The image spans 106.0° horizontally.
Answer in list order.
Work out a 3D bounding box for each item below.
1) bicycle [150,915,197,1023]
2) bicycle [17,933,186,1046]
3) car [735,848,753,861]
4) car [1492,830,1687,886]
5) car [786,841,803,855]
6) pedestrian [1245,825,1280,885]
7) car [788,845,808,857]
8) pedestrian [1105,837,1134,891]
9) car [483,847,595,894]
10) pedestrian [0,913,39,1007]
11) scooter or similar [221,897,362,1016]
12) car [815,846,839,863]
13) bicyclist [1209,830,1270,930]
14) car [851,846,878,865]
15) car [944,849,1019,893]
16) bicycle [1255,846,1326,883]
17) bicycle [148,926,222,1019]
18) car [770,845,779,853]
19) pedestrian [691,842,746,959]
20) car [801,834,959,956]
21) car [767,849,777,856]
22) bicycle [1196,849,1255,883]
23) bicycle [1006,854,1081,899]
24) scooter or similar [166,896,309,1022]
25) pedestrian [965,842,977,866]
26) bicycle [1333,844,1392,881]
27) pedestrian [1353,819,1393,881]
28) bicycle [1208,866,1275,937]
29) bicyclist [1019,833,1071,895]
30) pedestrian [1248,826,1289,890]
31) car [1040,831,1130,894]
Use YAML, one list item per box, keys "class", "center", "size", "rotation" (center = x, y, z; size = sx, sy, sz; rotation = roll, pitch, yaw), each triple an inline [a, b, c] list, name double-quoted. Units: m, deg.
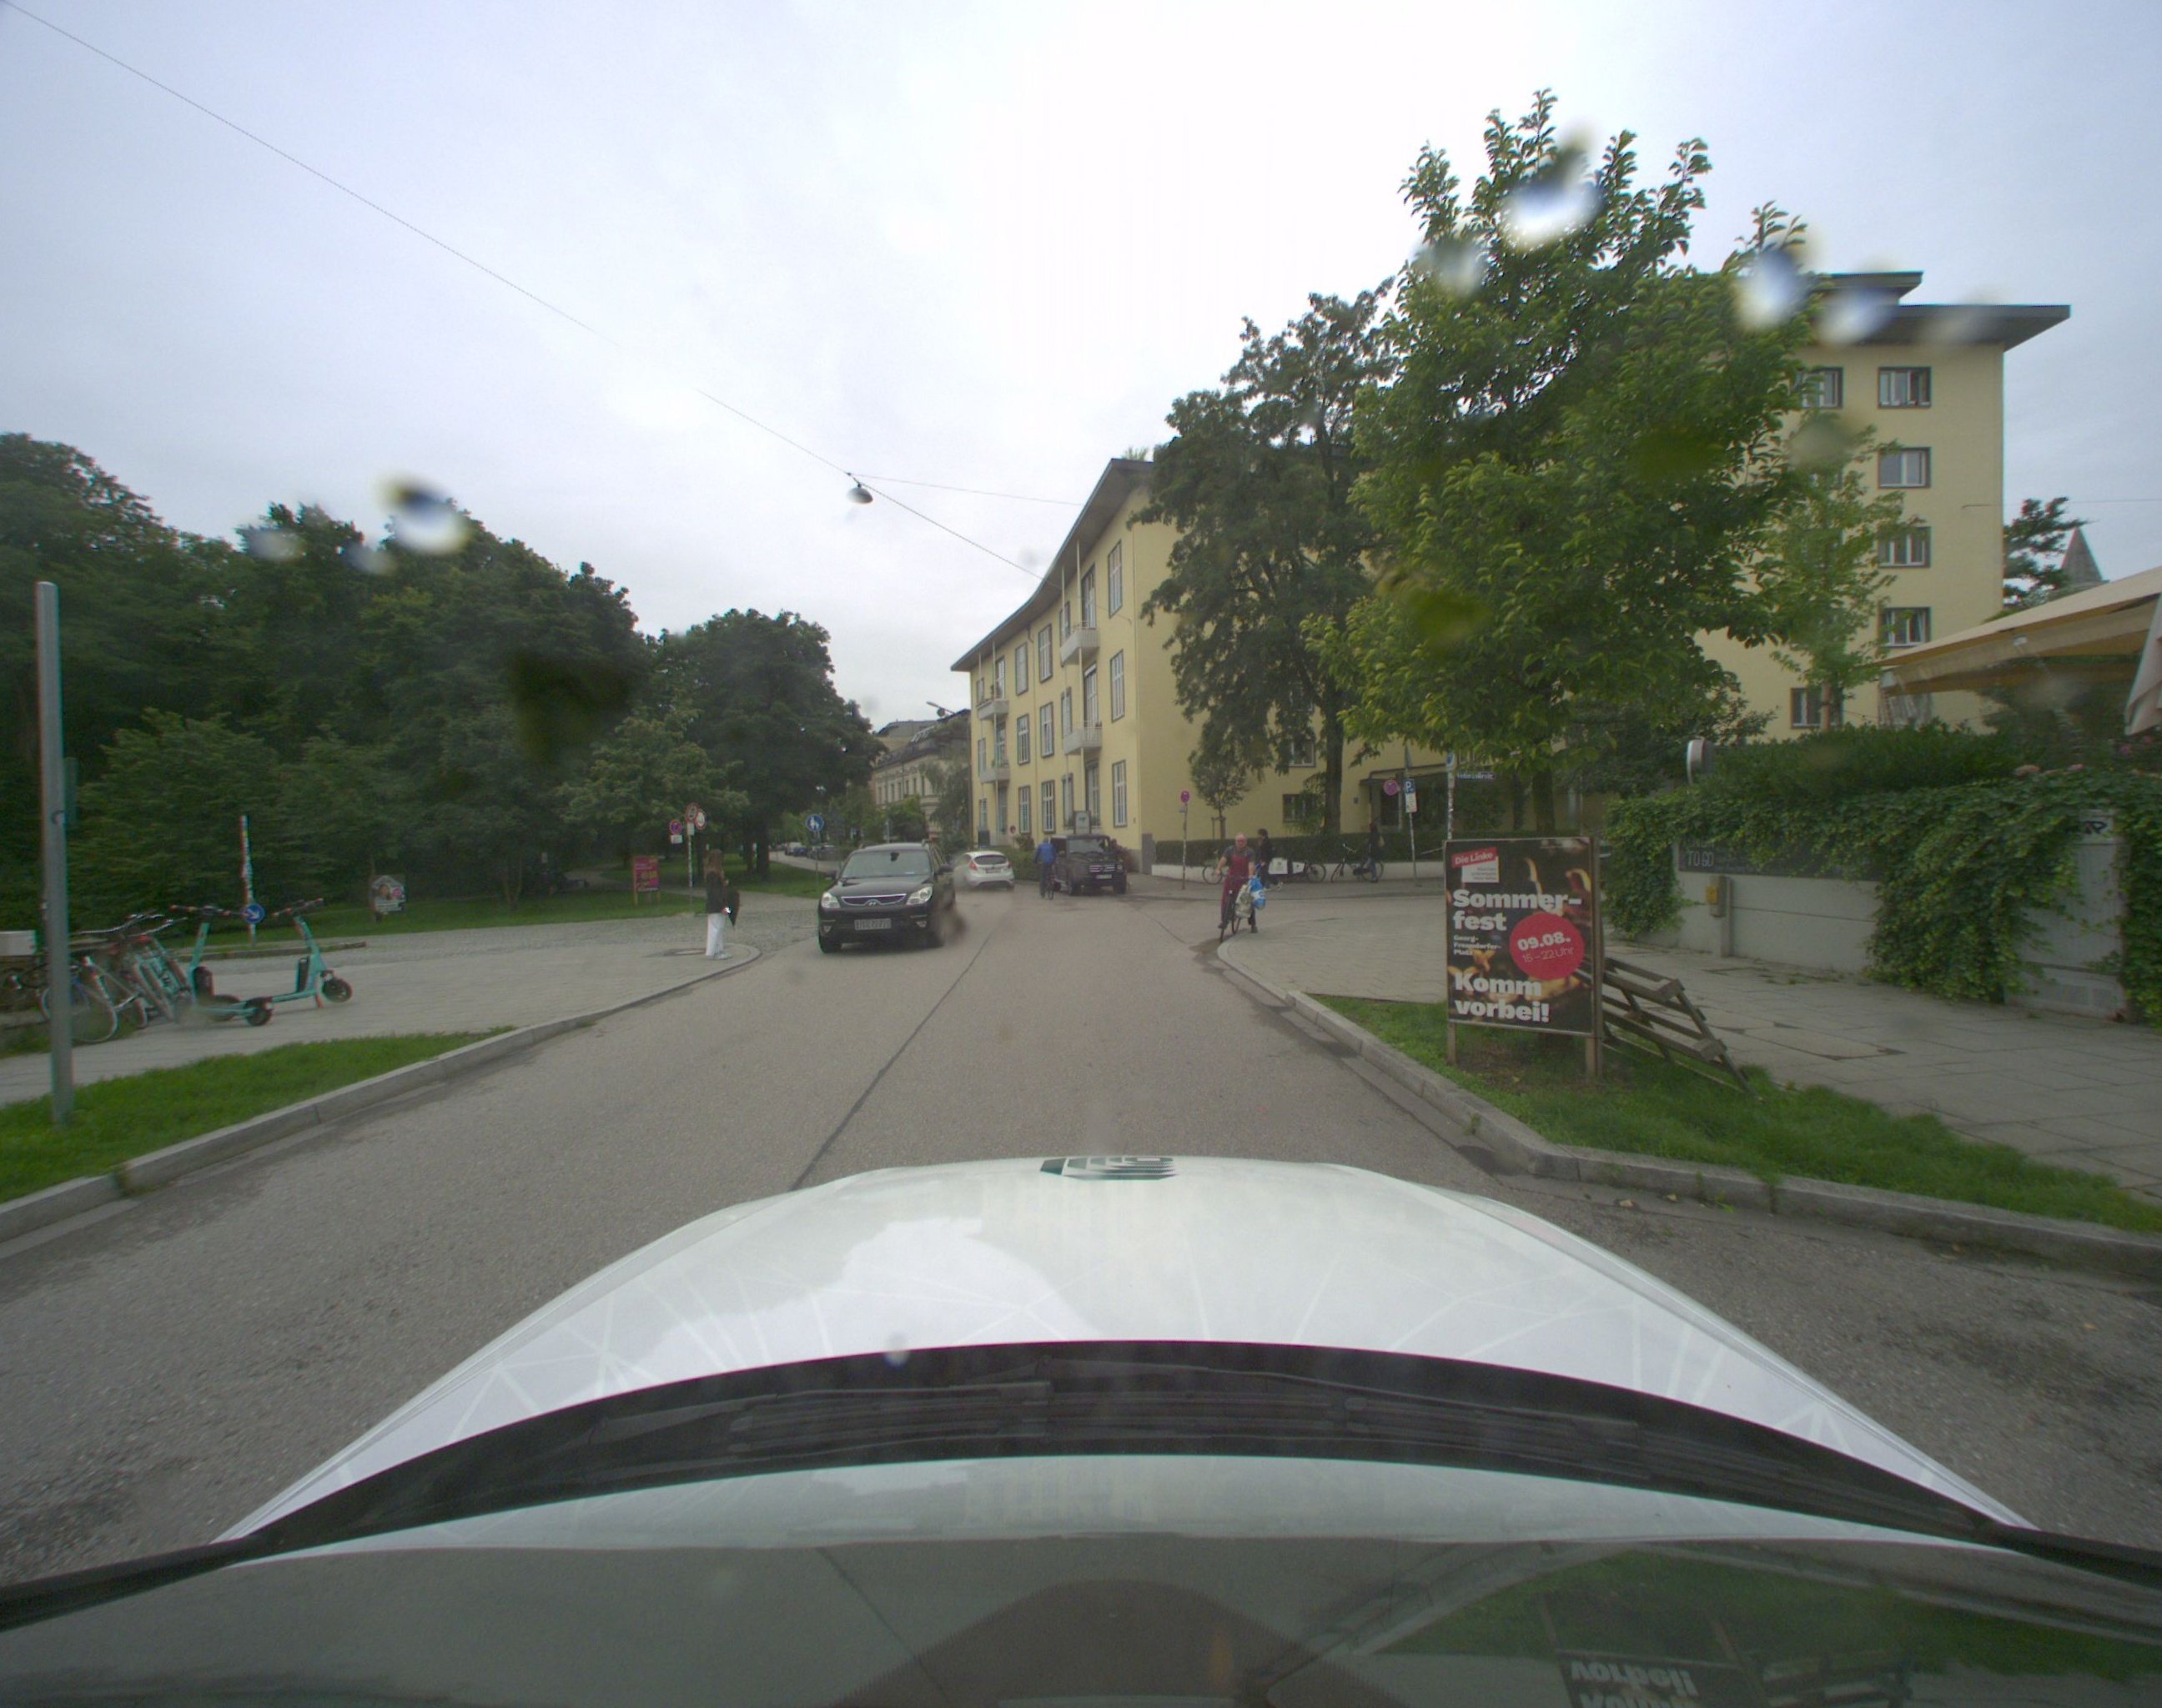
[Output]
- class: "bicycle"
  center: [-10.303, 1.272, 9.241]
  size: [1.176, 1.111, 0.303]
  rotation: [-2, -1, 40]
- class: "bicycle"
  center: [-9.485, 1.270, 7.946]
  size: [0.434, 0.893, 1.321]
  rotation: [-2, -1, -20]
- class: "car"
  center: [-45.393, 0.077, 109.794]
  size: [2.004, 1.600, 4.430]
  rotation: [-2, 1, -25]
- class: "car"
  center: [13.914, 0.128, 22.452]
  size: [4.305, 1.367, 1.662]
  rotation: [-2, -2, 0]
- class: "car"
  center: [-42.639, -0.850, 121.122]
  size: [2.075, 1.966, 4.940]
  rotation: [-2, 1, -22]
- class: "pedestrian"
  center: [5.421, 0.027, 24.400]
  size: [0.824, 1.746, 0.740]
  rotation: [-2, 1, -2]
- class: "car"
  center: [-39.112, -0.389, 112.522]
  size: [2.004, 1.600, 4.218]
  rotation: [-2, 1, -26]
- class: "pedestrian"
  center: [1.277, 0.322, 27.204]
  size: [0.845, 1.757, 0.954]
  rotation: [-2, 1, 0]
- class: "car"
  center: [-25.895, 0.739, 39.048]
  size: [1.765, 2.013, 4.026]
  rotation: [-2, 1, 30]
- class: "pedestrian"
  center: [-15.424, 1.509, 11.076]
  size: [0.847, 1.268, 1.263]
  rotation: [-2, 1, -7]
- class: "scooter or similar"
  center: [-8.859, 1.110, 9.168]
  size: [0.434, 1.212, 1.060]
  rotation: [-2, -2, 31]
- class: "car"
  center: [-27.673, 0.055, 88.587]
  size: [1.802, 1.679, 3.965]
  rotation: [-2, 1, -26]
- class: "bicyclist"
  center: [2.665, 0.422, 13.828]
  size: [0.871, 1.609, 1.051]
  rotation: [-2, 1, 5]
- class: "car"
  center: [-18.830, 0.139, 70.739]
  size: [1.654, 1.558, 3.531]
  rotation: [-2, 1, -24]
- class: "car"
  center: [-3.619, 0.546, 29.092]
  size: [1.754, 1.406, 3.700]
  rotation: [-2, 1, -22]
- class: "bicycle"
  center: [6.750, 0.329, 26.259]
  size: [2.151, 1.115, 0.643]
  rotation: [-2, 1, 15]
- class: "bicycle"
  center: [-10.757, 1.387, 9.769]
  size: [1.259, 0.977, 0.417]
  rotation: [-2, 1, 35]
- class: "car"
  center: [-75.336, -1.219, 200.405]
  size: [1.807, 1.658, 4.224]
  rotation: [-2, 1, -18]
- class: "pedestrian"
  center: [-5.538, 0.688, 12.475]
  size: [0.543, 1.696, 0.664]
  rotation: [-3, 1, -13]
- class: "car"
  center: [-3.292, 0.563, 14.296]
  size: [1.991, 1.719, 4.606]
  rotation: [-2, 1, -6]
- class: "car"
  center: [-73.874, -0.401, 194.862]
  size: [1.998, 1.600, 4.442]
  rotation: [-2, 1, -17]
- class: "bicycle"
  center: [4.855, 0.417, 27.456]
  size: [1.925, 1.084, 0.532]
  rotation: [-3, -1, 42]
- class: "bicycle"
  center: [-1.140, 0.639, 24.353]
  size: [0.929, 1.252, 2.293]
  rotation: [-3, 1, -43]
- class: "scooter or similar"
  center: [-8.743, 1.074, 8.452]
  size: [1.252, 1.244, 0.395]
  rotation: [-2, -1, 10]
- class: "pedestrian"
  center: [-7.974, 0.017, 59.238]
  size: [0.634, 1.684, 0.692]
  rotation: [-3, 1, -24]
- class: "bicycle"
  center: [8.925, 0.260, 25.835]
  size: [1.678, 1.130, 0.460]
  rotation: [-2, 1, -3]
- class: "pedestrian"
  center: [9.008, -0.123, 25.137]
  size: [0.848, 1.857, 0.766]
  rotation: [-3, 0, -2]
- class: "bicycle"
  center: [2.698, 0.766, 13.912]
  size: [0.872, 1.019, 2.194]
  rotation: [-2, 1, 5]
- class: "bicyclist"
  center: [-1.070, 0.286, 24.258]
  size: [0.922, 1.764, 1.200]
  rotation: [-2, 1, -44]
- class: "pedestrian"
  center: [5.434, 0.118, 23.665]
  size: [0.986, 1.809, 0.660]
  rotation: [-2, 0, 0]
- class: "car"
  center: [0.038, 0.226, 27.458]
  size: [1.877, 1.887, 4.596]
  rotation: [-2, 1, -15]
